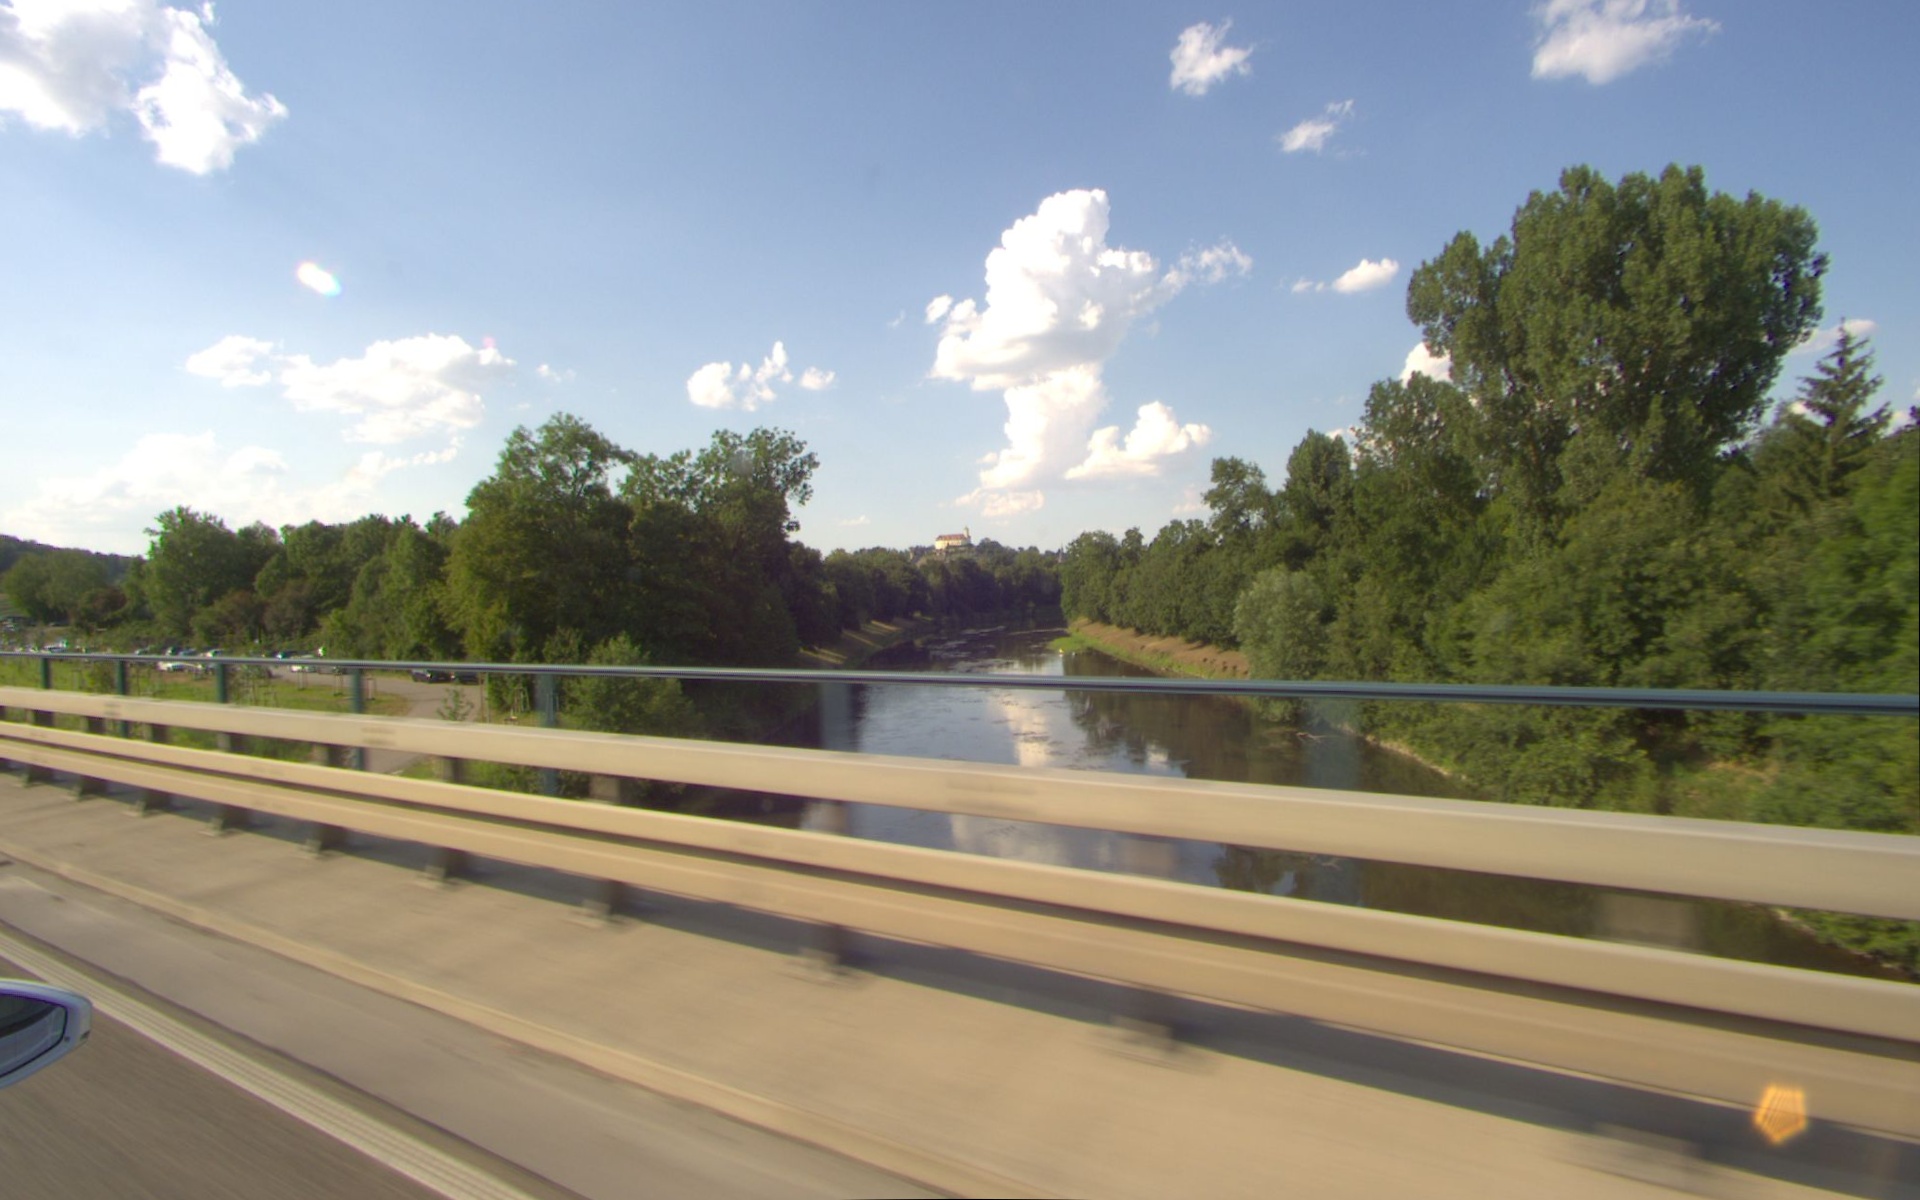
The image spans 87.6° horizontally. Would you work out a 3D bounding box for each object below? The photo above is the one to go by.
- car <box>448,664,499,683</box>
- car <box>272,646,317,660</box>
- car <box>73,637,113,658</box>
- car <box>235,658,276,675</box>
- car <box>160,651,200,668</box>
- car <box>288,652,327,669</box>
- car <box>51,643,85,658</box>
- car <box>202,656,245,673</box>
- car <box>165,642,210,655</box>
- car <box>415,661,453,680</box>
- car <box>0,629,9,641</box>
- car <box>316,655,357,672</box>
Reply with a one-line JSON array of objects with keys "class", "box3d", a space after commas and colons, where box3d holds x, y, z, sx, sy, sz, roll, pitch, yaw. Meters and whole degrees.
[{"class": "car", "box3d": [-42.556, 6.402, 87.640, 3.615, 1.516, 1.659, -1, 0, -10]}, {"class": "car", "box3d": [-78.769, 6.269, 118.541, 1.591, 1.475, 4.232, 1, 1, 26]}, {"class": "car", "box3d": [-103.614, 5.671, 119.704, 5.301, 2.046, 2.113, 1, 4, 32]}, {"class": "car", "box3d": [-68.827, 6.501, 97.808, 4.160, 1.516, 1.652, -1, 0, 30]}, {"class": "car", "box3d": [-83.461, 6.380, 107.145, 4.190, 1.503, 1.815, 1, 2, 28]}, {"class": "car", "box3d": [-67.027, 6.195, 102.841, 4.643, 1.688, 1.650, -1, 0, 33]}, {"class": "car", "box3d": [-110.607, 6.247, 124.171, 4.713, 1.503, 1.887, 1, 4, 32]}, {"class": "car", "box3d": [-74.308, 6.473, 101.013, 4.190, 1.420, 1.815, 1, 2, 28]}, {"class": "car", "box3d": [-99.538, 6.263, 129.127, 1.807, 1.625, 4.227, 0, -2, 31]}, {"class": "car", "box3d": [-46.936, 6.277, 89.334, 3.783, 1.516, 1.647, -1, -1, 39]}, {"class": "car", "box3d": [-154.738, 5.704, 161.286, 1.876, 1.581, 4.740, -4, 4, -39]}, {"class": "car", "box3d": [-61.991, 6.276, 99.523, 4.160, 1.516, 1.652, -1, 0, 30]}]
